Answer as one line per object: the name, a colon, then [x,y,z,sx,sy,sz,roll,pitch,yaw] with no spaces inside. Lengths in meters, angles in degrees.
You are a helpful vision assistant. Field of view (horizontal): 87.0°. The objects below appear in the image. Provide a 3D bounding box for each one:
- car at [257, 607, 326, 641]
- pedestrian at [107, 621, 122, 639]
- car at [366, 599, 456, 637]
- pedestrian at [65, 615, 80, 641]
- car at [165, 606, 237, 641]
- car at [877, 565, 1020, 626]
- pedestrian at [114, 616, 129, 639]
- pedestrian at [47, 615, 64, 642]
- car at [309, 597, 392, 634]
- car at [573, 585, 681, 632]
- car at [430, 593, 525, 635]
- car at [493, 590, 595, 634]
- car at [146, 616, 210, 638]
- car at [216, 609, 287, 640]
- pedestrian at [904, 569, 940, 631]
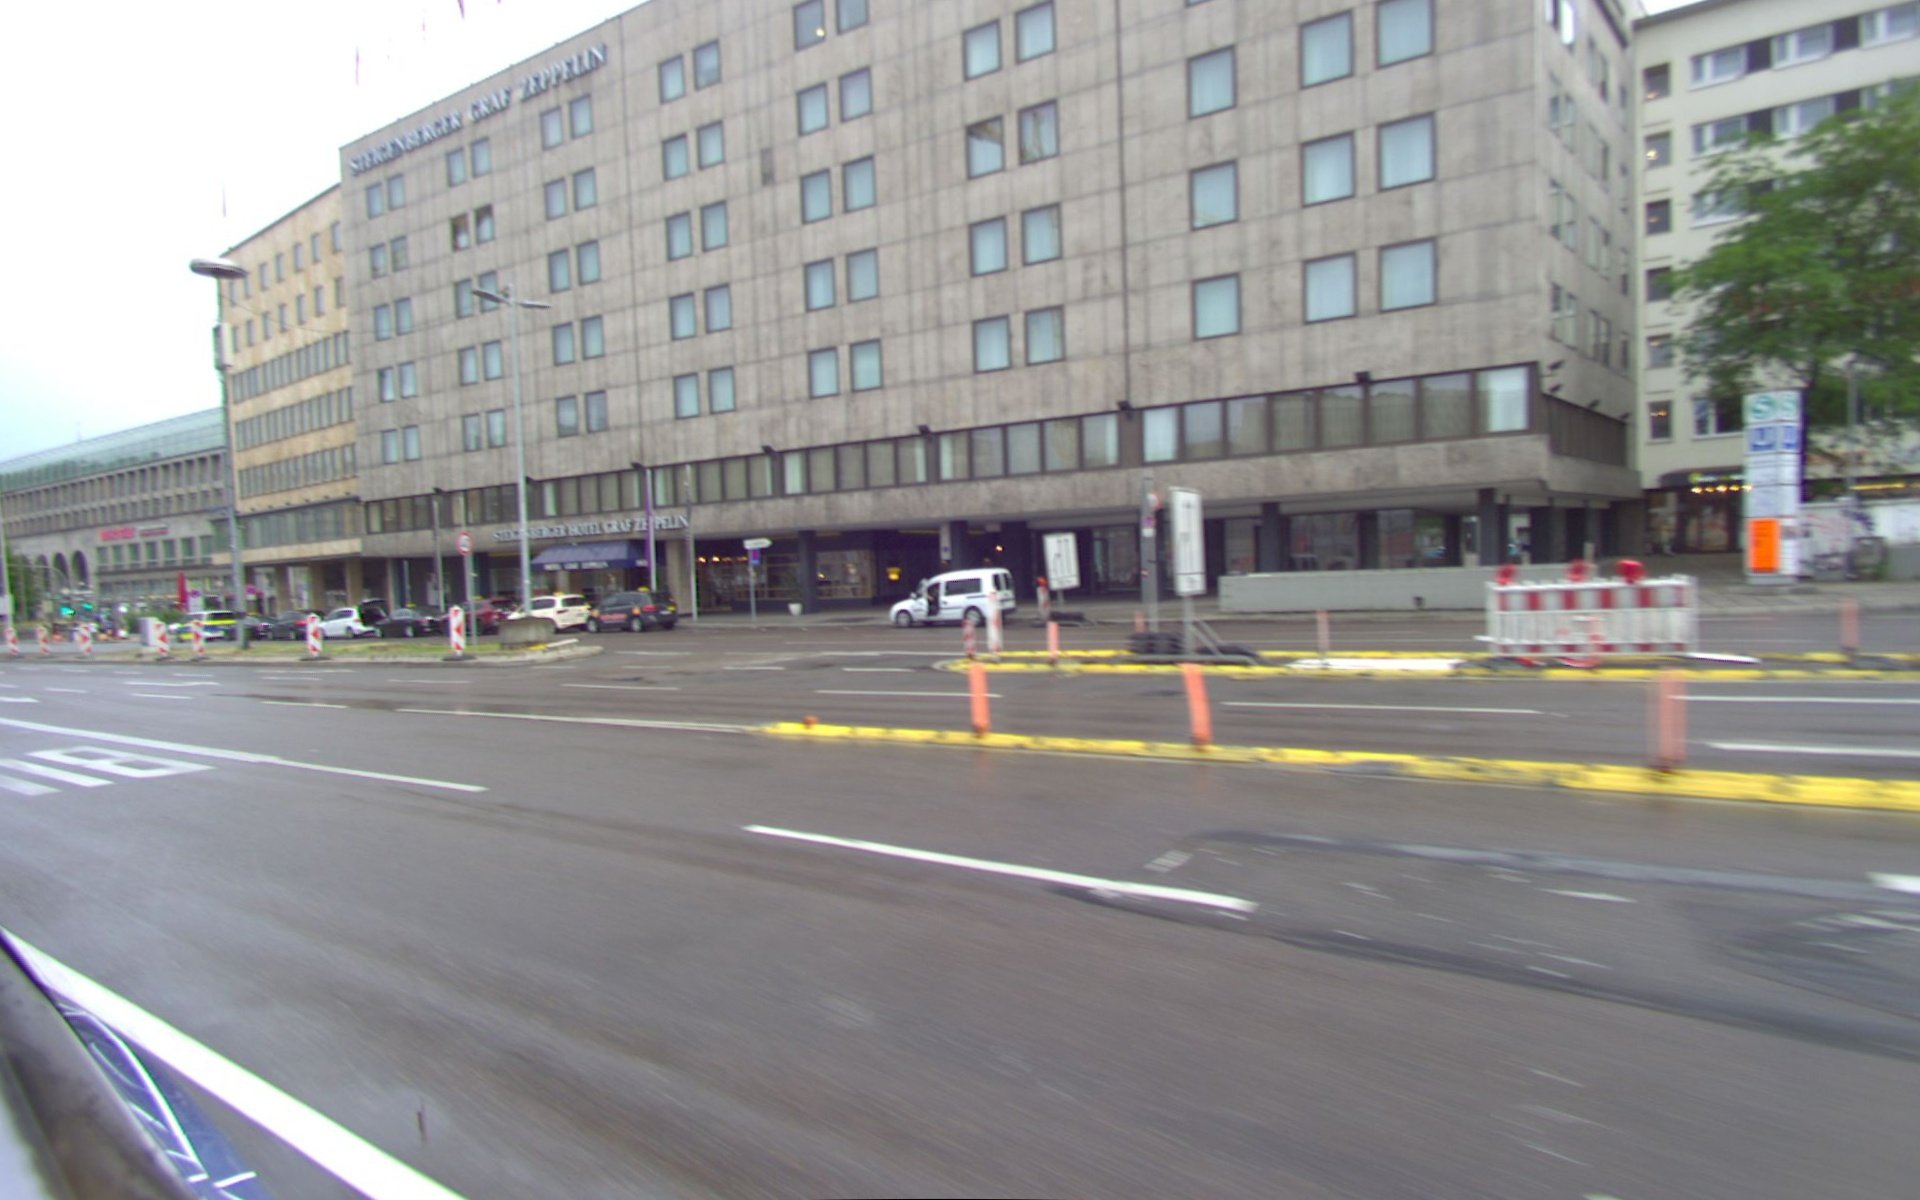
car: [-37.179,1.328,56.241,4.219,1.694,1.739,-2,1,36]
pedestrian: [-63.259,2.231,75.721,0.750,1.301,0.559,-2,1,31]
car: [-27.281,0.895,50.238,4.602,1.672,1.888,-2,1,33]
pedestrian: [-67.770,2.125,77.250,0.749,1.939,0.585,-2,1,32]
car: [-47.836,1.474,63.763,5.058,1.943,1.886,-3,0,32]
car: [-0.407,-0.119,33.033,4.358,1.775,1.761,-2,1,33]
pedestrian: [-62.072,2.009,74.899,0.750,1.681,0.559,-2,1,31]
pedestrian: [-69.629,2.171,77.907,0.805,2.028,0.698,-2,1,33]
car: [-32.107,0.845,53.274,4.695,1.771,1.741,-2,1,32]
car: [-13.658,0.350,41.440,4.503,1.740,1.801,-2,2,35]
car: [-22.542,0.648,47.247,4.635,1.781,1.886,-2,2,35]
car: [-18.196,0.533,44.239,4.564,1.710,1.802,-2,1,33]
car: [-68.947,2.377,89.260,1.803,1.652,4.044,-2,2,37]
car: [-41.685,1.446,59.540,4.549,1.633,1.741,-2,1,32]
pedestrian: [-1.208,-0.006,32.079,0.793,1.900,0.686,-2,1,32]
